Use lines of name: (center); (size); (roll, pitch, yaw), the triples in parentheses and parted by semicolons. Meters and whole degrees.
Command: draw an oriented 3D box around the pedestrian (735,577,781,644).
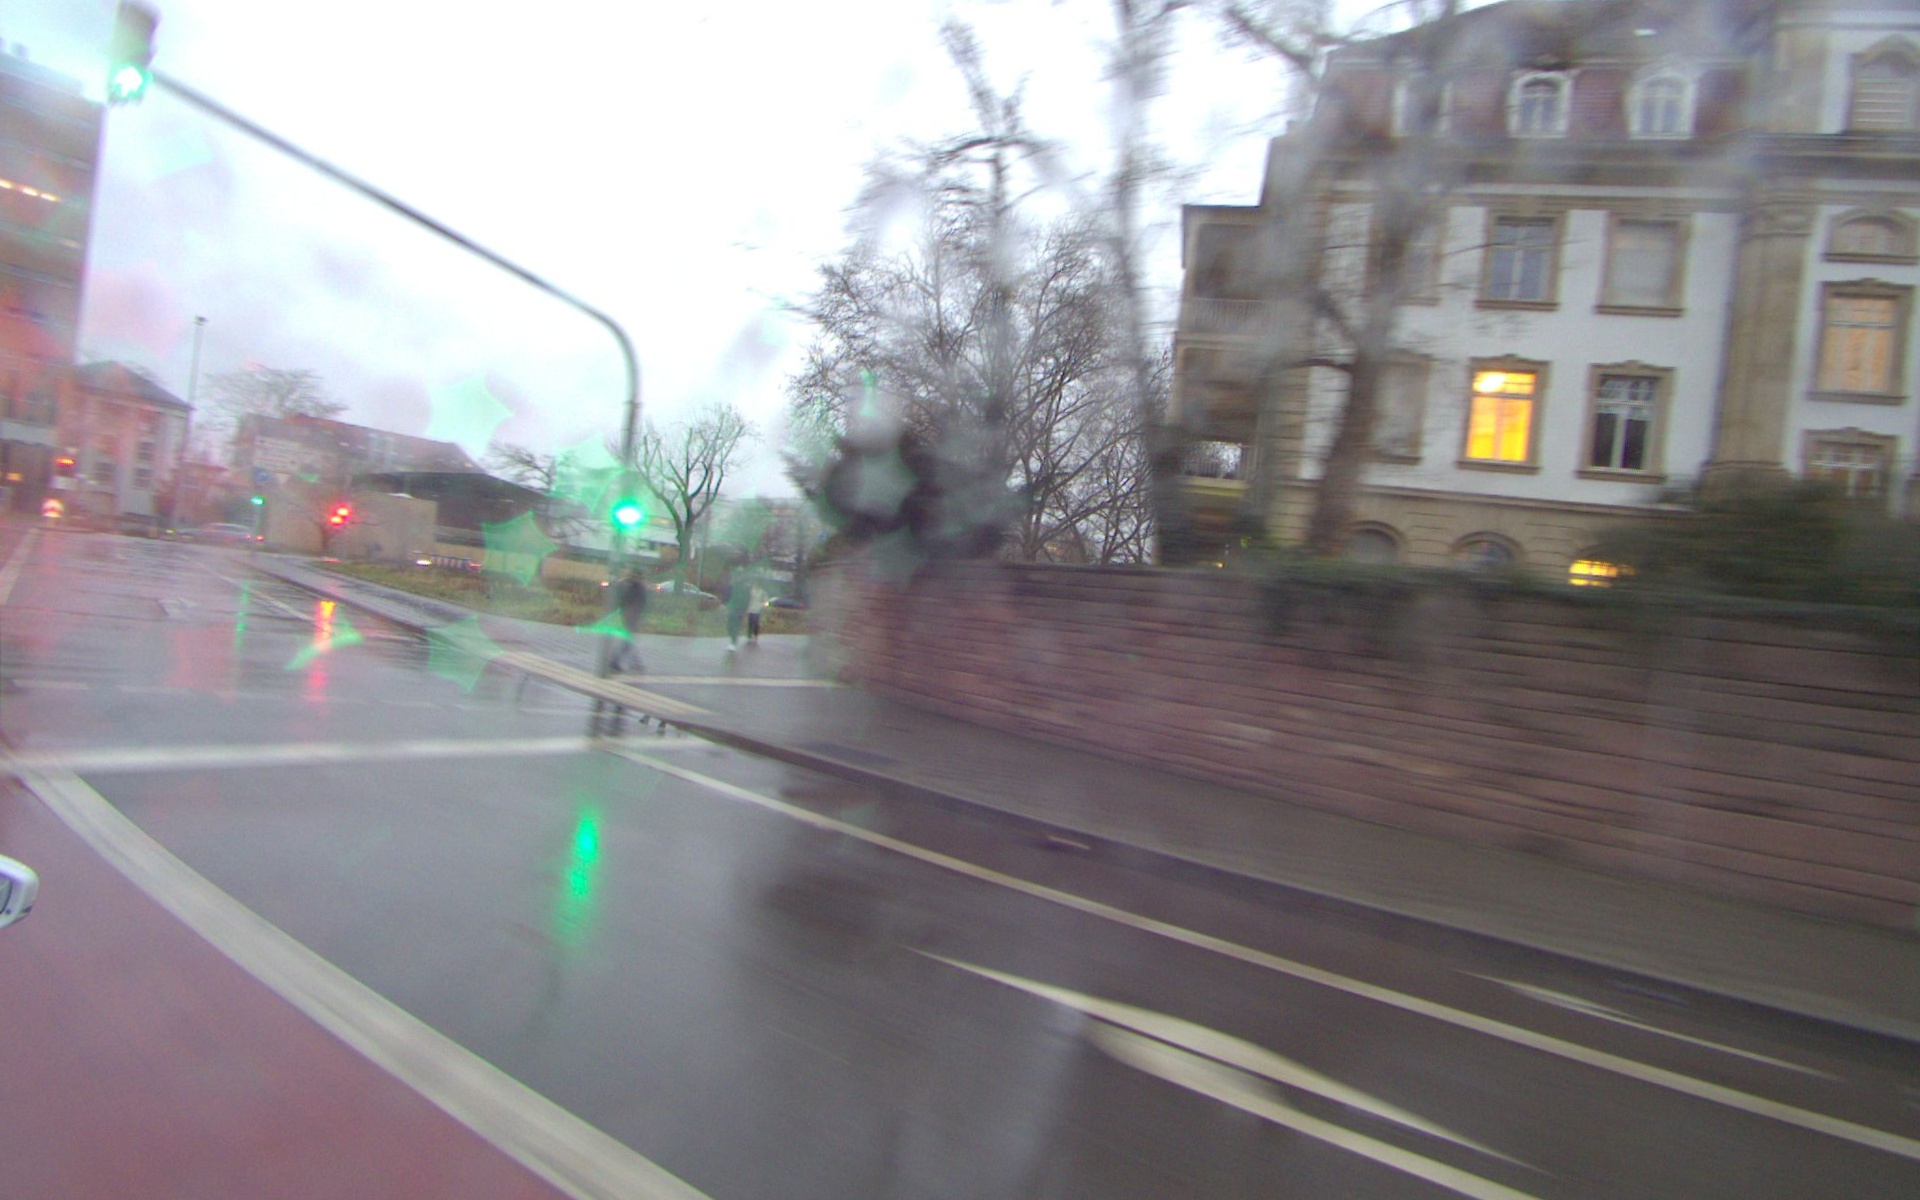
pedestrian: (-5.446, 0.288, 27.182); (0.765, 1.696, 0.962); (6, 1, 9)

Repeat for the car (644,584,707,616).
car: (-19.550, 0.024, 69.253); (3.619, 1.669, 1.870); (10, -4, -39)

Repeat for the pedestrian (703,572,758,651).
pedestrian: (-5.282, 0.274, 23.166); (0.718, 1.696, 0.790); (7, 1, 34)

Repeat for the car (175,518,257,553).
car: (-47.366, -4.063, 64.108); (3.884, 1.502, 1.460); (9, -3, -28)

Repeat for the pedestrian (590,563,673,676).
pedestrian: (-5.384, 0.312, 16.462); (0.801, 1.706, 1.144); (5, 2, -39)

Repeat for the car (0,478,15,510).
car: (-69.264, -7.783, 69.431); (5.522, 2.046, 1.981); (10, -4, -37)
